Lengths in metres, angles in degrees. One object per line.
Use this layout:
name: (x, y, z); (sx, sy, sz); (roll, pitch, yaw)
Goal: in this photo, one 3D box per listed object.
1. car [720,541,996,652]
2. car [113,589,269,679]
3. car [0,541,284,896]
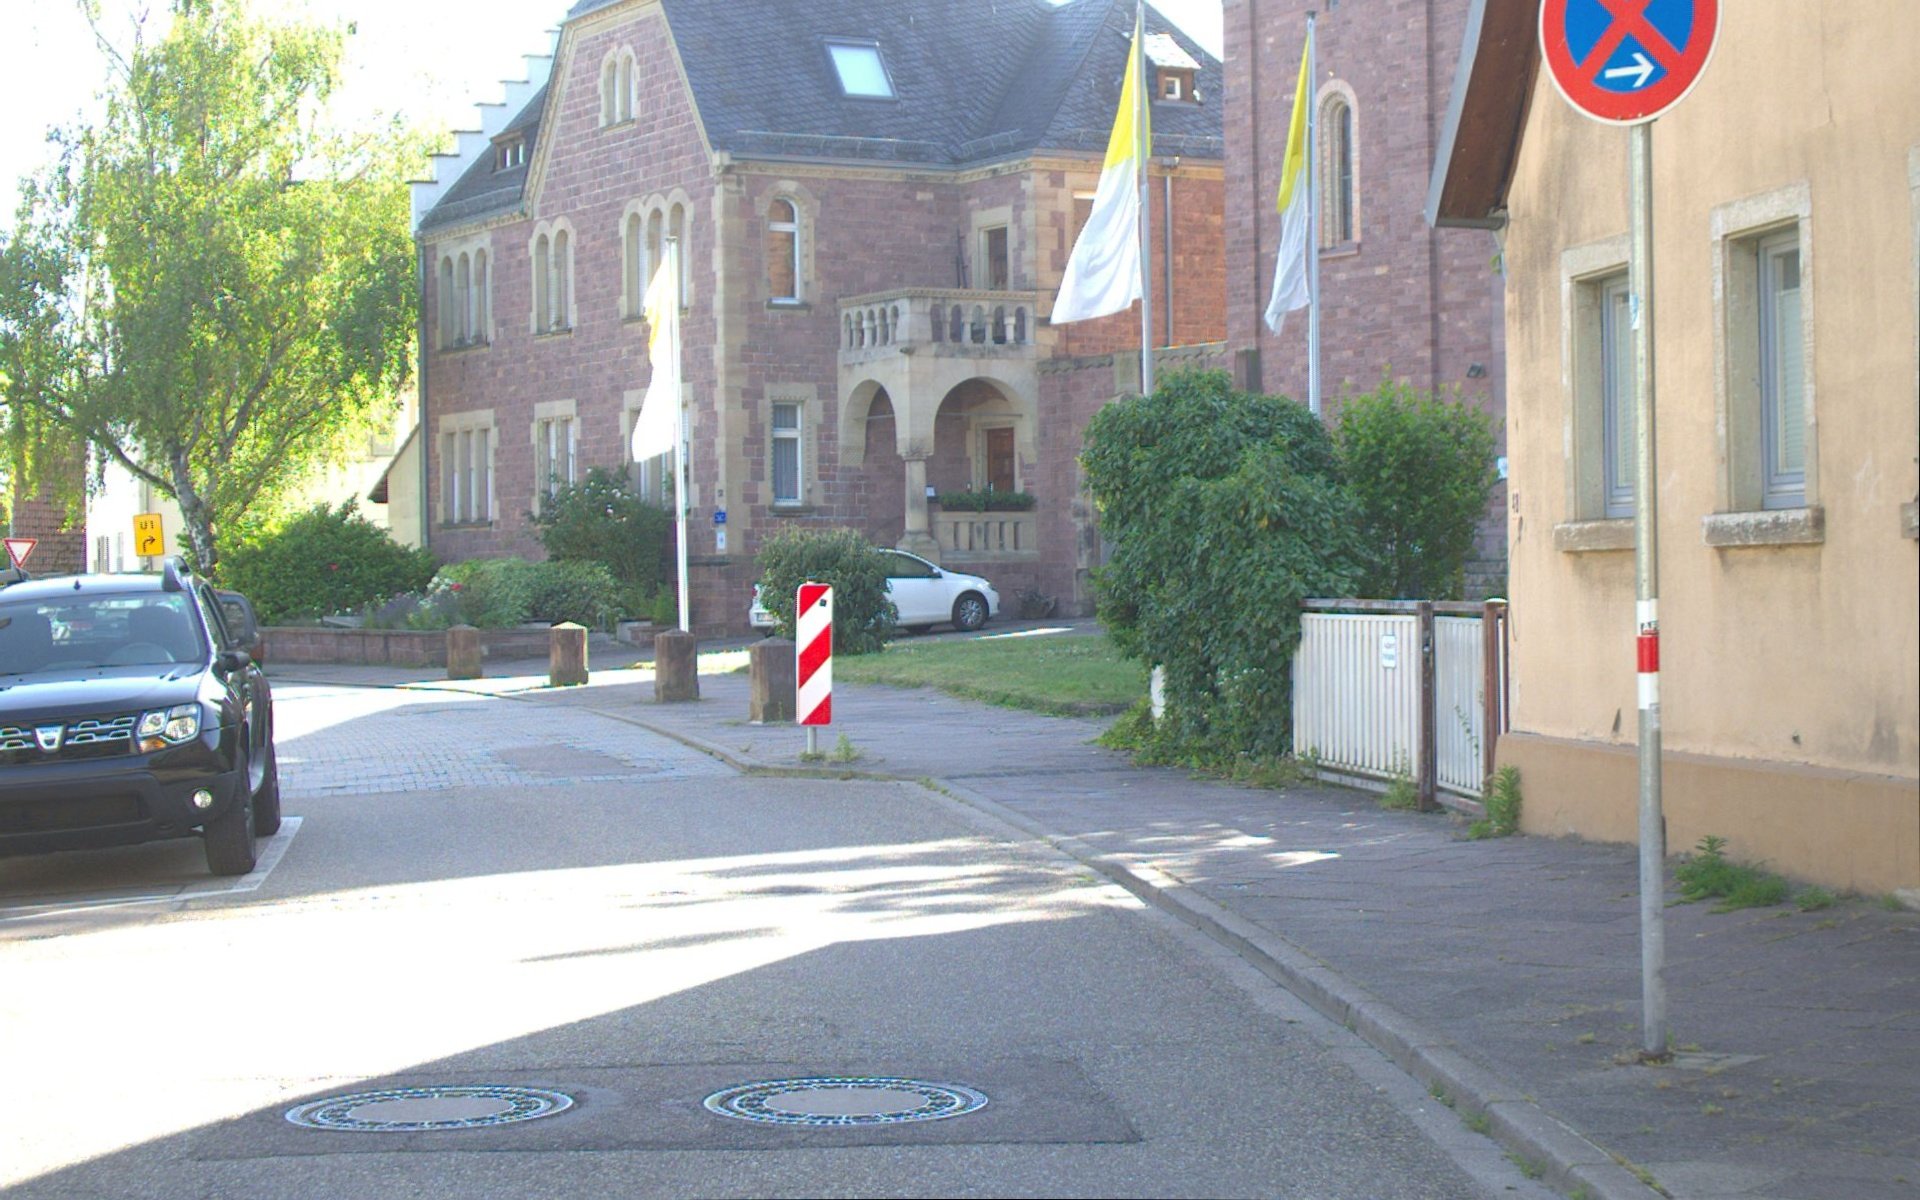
car: (-1.622, -0.064, 55.023); (3.898, 1.491, 1.904); (-4, 0, -32)
car: (-13.061, 0.568, 58.236); (1.648, 1.474, 3.934); (1, 0, -27)
car: (-4.775, 0.577, 18.864); (1.832, 1.665, 4.354); (-3, 1, -9)
